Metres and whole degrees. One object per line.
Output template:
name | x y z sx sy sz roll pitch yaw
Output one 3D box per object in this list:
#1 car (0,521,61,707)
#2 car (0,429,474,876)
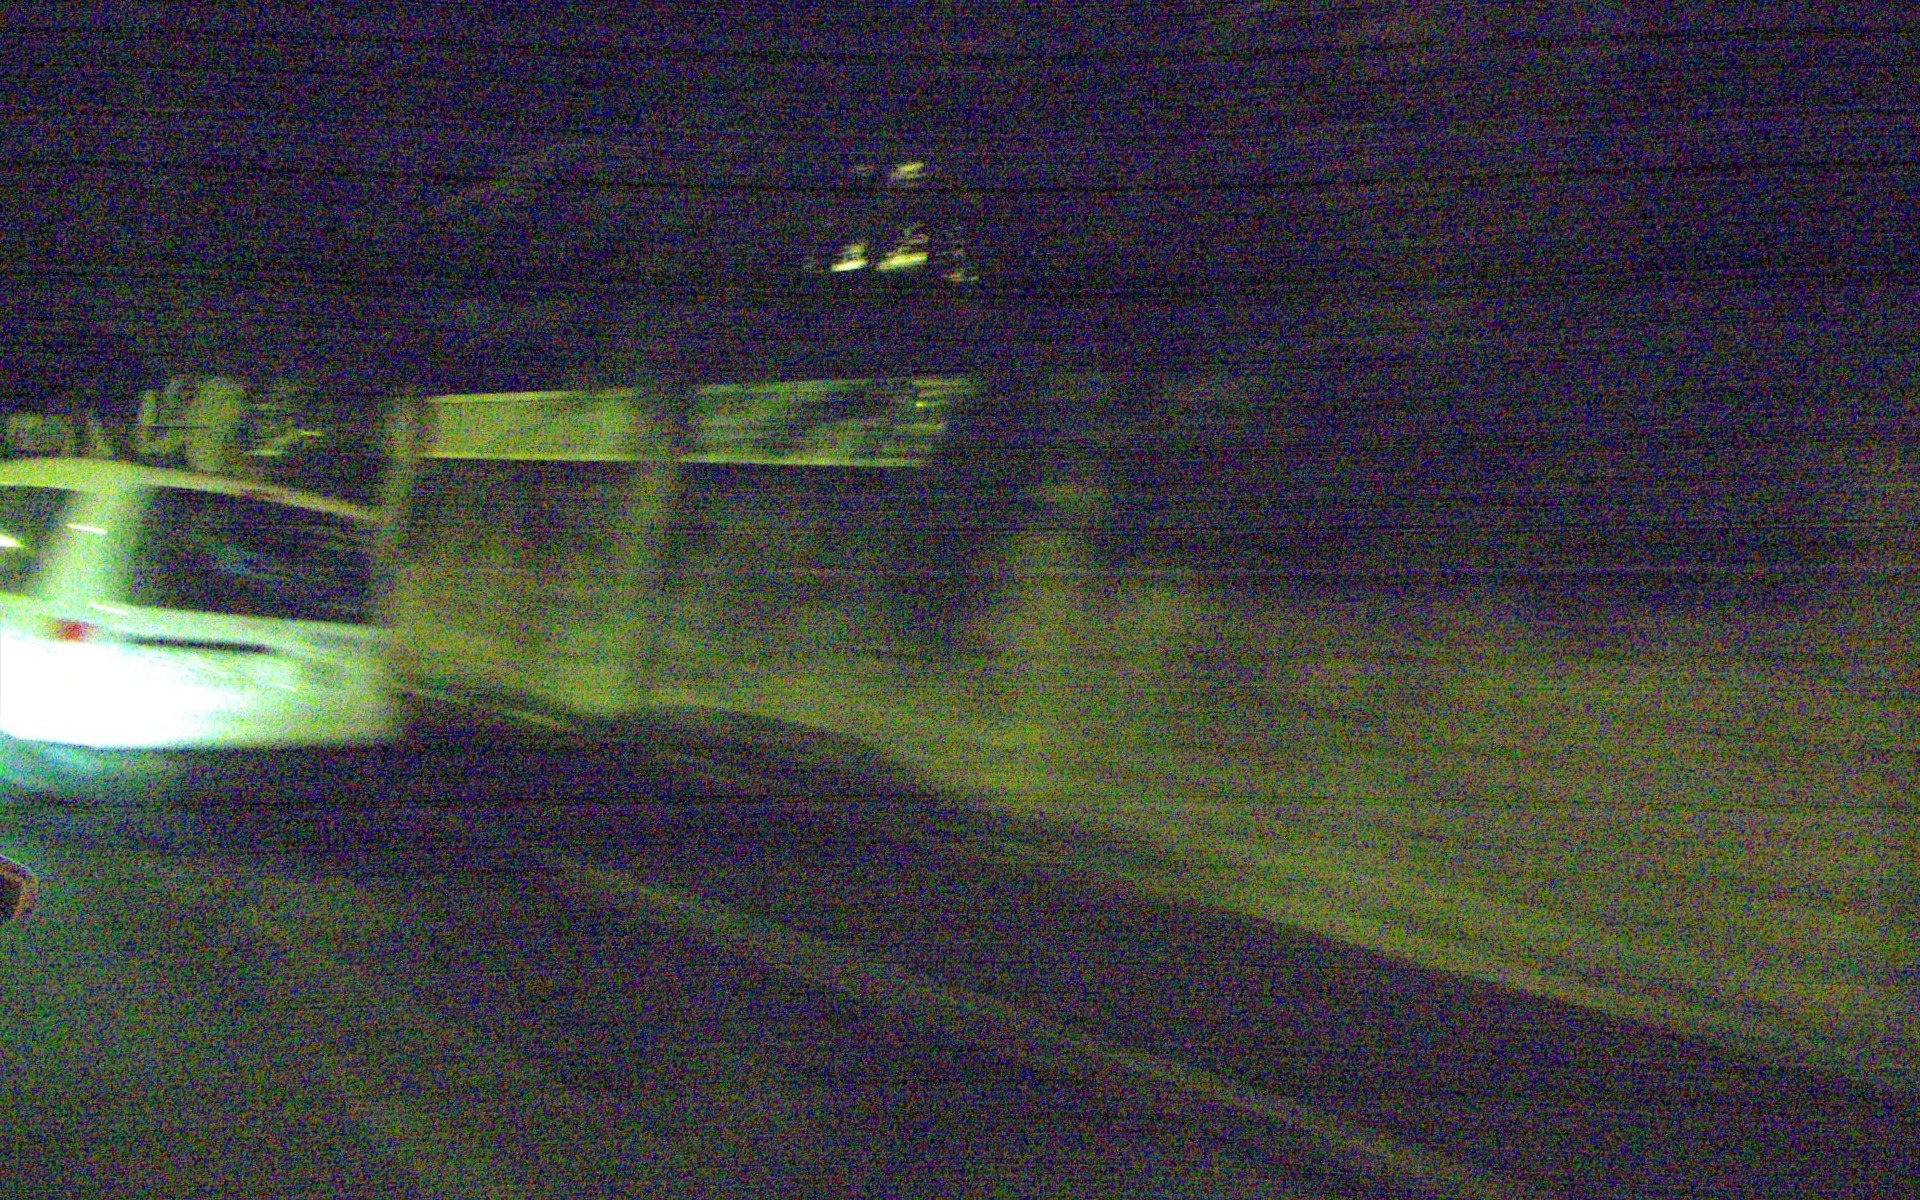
car | -9.822 -0.140 8.711 4.185 1.486 1.749 6 -4 31
car | -5.166 0.092 5.967 4.680 1.781 1.722 6 -3 32
